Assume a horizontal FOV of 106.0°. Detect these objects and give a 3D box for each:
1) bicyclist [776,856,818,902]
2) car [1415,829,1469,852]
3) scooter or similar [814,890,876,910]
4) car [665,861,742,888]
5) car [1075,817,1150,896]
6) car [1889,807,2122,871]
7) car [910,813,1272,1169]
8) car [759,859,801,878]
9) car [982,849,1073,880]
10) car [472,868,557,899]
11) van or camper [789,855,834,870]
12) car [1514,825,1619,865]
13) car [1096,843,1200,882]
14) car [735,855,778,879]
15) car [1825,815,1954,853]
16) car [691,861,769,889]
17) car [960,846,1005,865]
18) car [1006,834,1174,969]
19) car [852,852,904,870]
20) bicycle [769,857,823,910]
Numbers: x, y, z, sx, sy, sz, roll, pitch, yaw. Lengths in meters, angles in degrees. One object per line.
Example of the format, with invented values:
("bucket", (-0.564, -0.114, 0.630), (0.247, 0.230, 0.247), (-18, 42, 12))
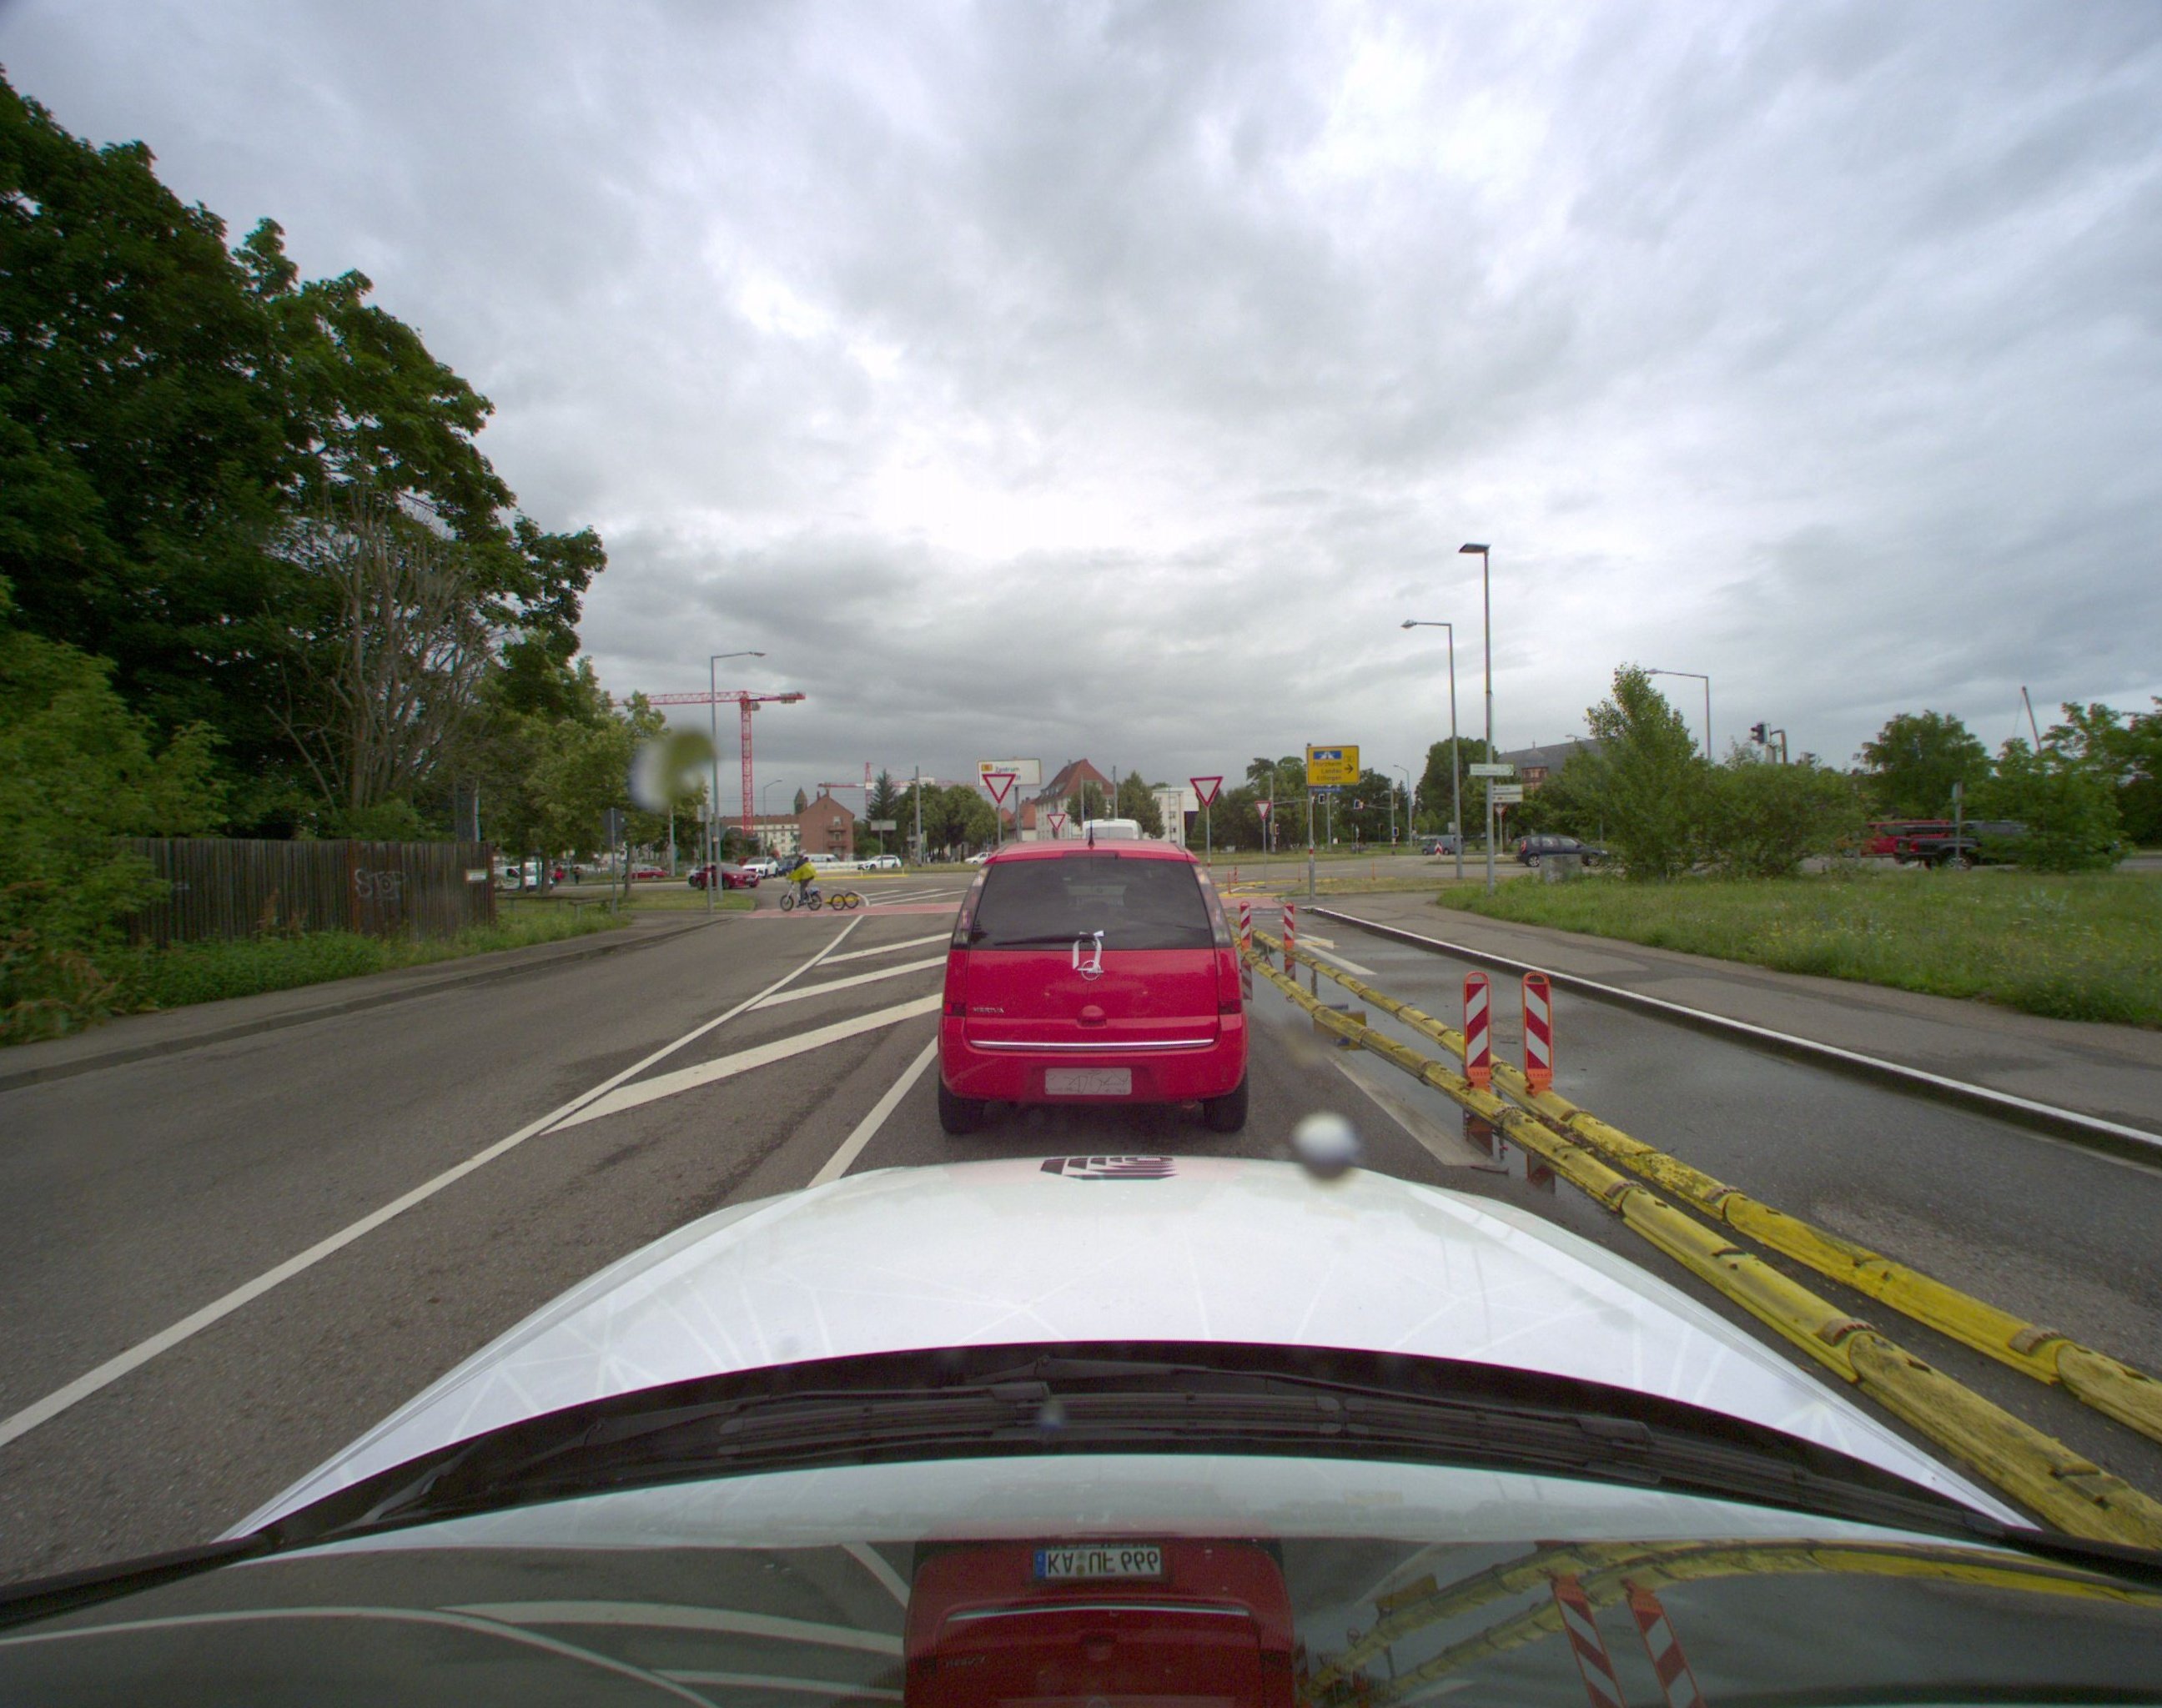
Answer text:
("bicyclist", (-8.919, 0.775, 25.588), (1.053, 1.401, 0.618), (-2, 0, 18))
("car", (34.925, -1.273, 78.900), (2.004, 2.013, 4.439), (-2, 0, -26))
("scooter or similar", (-7.305, 1.428, 25.312), (1.600, 0.504, 0.926), (-2, 0, 4))
("car", (-24.121, 1.305, 52.058), (3.962, 1.508, 2.006), (-2, 0, 10))
("car", (1.223, 0.069, 29.089), (2.183, 2.540, 4.973), (-1, 0, 7))
("car", (31.598, -0.461, 28.146), (4.977, 1.972, 2.238), (-2, 0, 39))
("car", (0.099, 0.627, 5.599), (1.667, 1.640, 3.629), (-1, 0, 2))
("car", (-25.248, 1.192, 68.439), (1.923, 1.489, 4.002), (-2, 0, 2))
("car", (-2.813, 0.546, 42.982), (4.272, 1.464, 2.010), (-2, 0, 19))
("car", (-38.669, 2.001, 55.603), (4.797, 1.900, 2.108), (-2, 0, 15))
("van or camper", (-40.128, 1.283, 121.339), (6.135, 2.013, 2.007), (-2, 0, 12))
("car", (24.225, -0.440, 40.802), (4.160, 1.813, 2.088), (-2, 0, 19))
("car", (3.023, 0.376, 36.681), (4.496, 1.583, 2.003), (-2, 0, 4))
("car", (-24.603, 0.985, 61.880), (1.928, 1.684, 4.180), (-2, 0, -6))
("car", (45.117, -1.074, 45.535), (2.125, 1.917, 4.836), (-2, 0, -37))
("car", (-19.949, 1.212, 46.258), (4.301, 1.464, 2.013), (-2, 0, 33))
("car", (-10.959, 0.189, 90.784), (4.494, 2.013, 1.981), (-2, 0, -30))
("car", (0.183, 0.571, 12.302), (2.052, 1.648, 4.609), (-1, 0, 2))
("car", (-20.204, 0.658, 81.308), (1.974, 1.635, 4.705), (-2, 0, 40))
("bicycle", (-8.967, 0.924, 25.622), (1.465, 1.612, 0.609), (-2, 0, 18))
